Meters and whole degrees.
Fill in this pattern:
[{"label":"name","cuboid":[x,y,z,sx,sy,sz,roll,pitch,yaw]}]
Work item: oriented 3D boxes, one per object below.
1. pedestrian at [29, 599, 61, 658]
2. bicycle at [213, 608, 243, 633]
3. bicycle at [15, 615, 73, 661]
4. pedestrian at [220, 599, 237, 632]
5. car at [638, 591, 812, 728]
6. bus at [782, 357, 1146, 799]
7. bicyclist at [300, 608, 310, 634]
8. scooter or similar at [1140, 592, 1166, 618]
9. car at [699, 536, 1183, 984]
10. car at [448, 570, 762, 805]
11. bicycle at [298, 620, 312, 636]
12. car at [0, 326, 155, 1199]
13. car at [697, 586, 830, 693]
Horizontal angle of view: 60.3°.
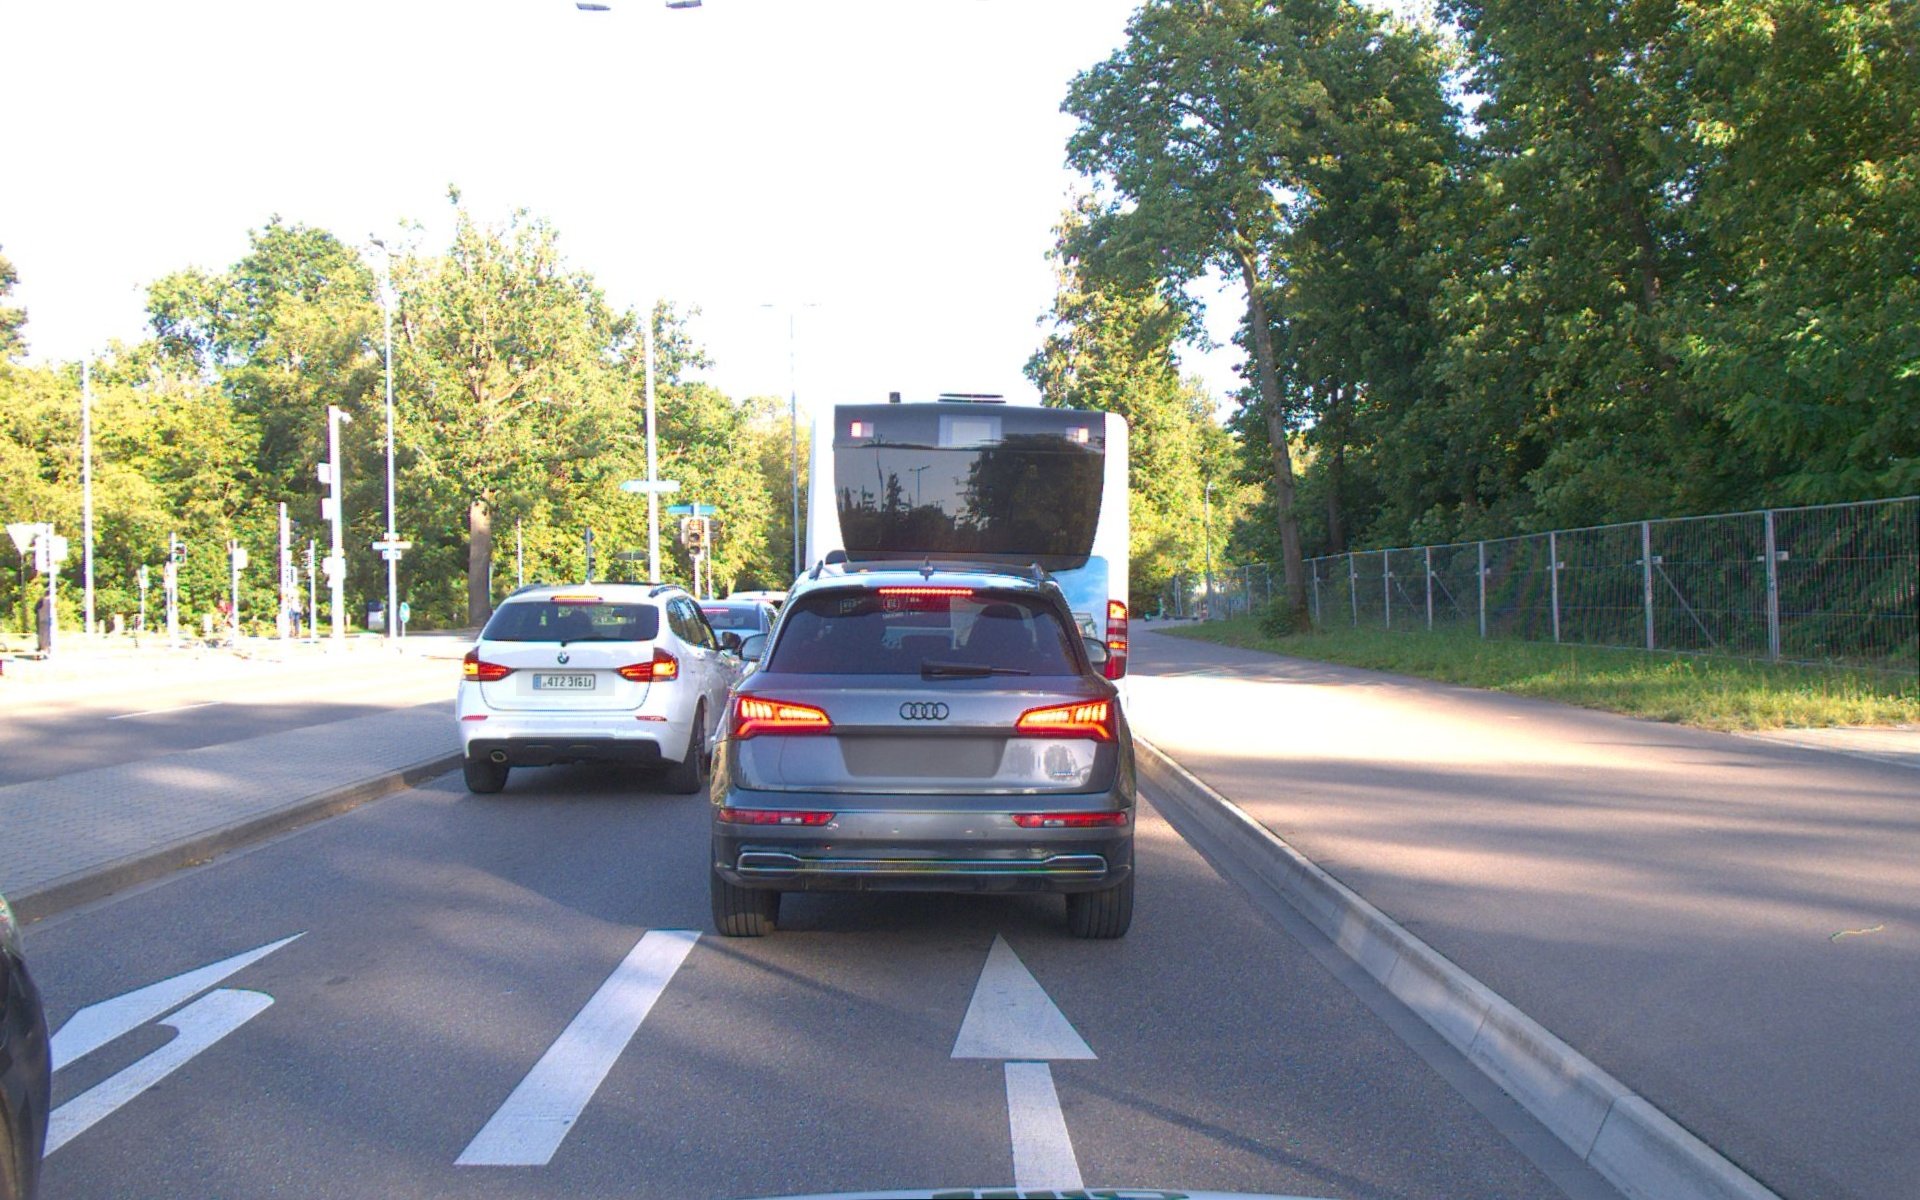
[{"label":"pedestrian","cuboid":[-24.971,0.779,45.156,0.472,1.589,0.648,1,-1,-1]},{"label":"bicycle","cuboid":[-25.129,0.703,56.806,0.566,0.814,1.276,1,0,-6]},{"label":"bicycle","cuboid":[-24.985,1.021,45.131,0.458,1.198,2.003,1,0,-1]},{"label":"pedestrian","cuboid":[-25.116,0.530,56.793,0.436,1.128,0.378,1,-1,-7]},{"label":"car","cuboid":[-2.837,0.662,20.779,1.749,1.469,4.276,1,1,-3]},{"label":"bus","cuboid":[0.053,-0.200,15.099,2.623,3.196,5.882,1,1,0]},{"label":"bicyclist","cuboid":[-24.488,0.783,61.821,0.268,0.979,0.240,1,-1,-8]},{"label":"scooter or similar","cuboid":[9.124,0.246,78.032,1.158,1.195,0.659,1,0,11]},{"label":"car","cuboid":[-0.099,0.589,8.345,1.830,1.693,4.000,1,1,-1]},{"label":"car","cuboid":[-2.729,0.613,13.712,1.683,1.608,4.433,1,0,-1]},{"label":"bicycle","cuboid":[-24.496,1.042,61.846,0.261,0.592,0.838,1,0,-6]},{"label":"car","cuboid":[-2.482,0.549,0.868,1.869,1.888,4.872,1,2,-2]},{"label":"car","cuboid":[-3.197,0.601,27.607,1.771,1.599,4.000,1,1,-1]}]
